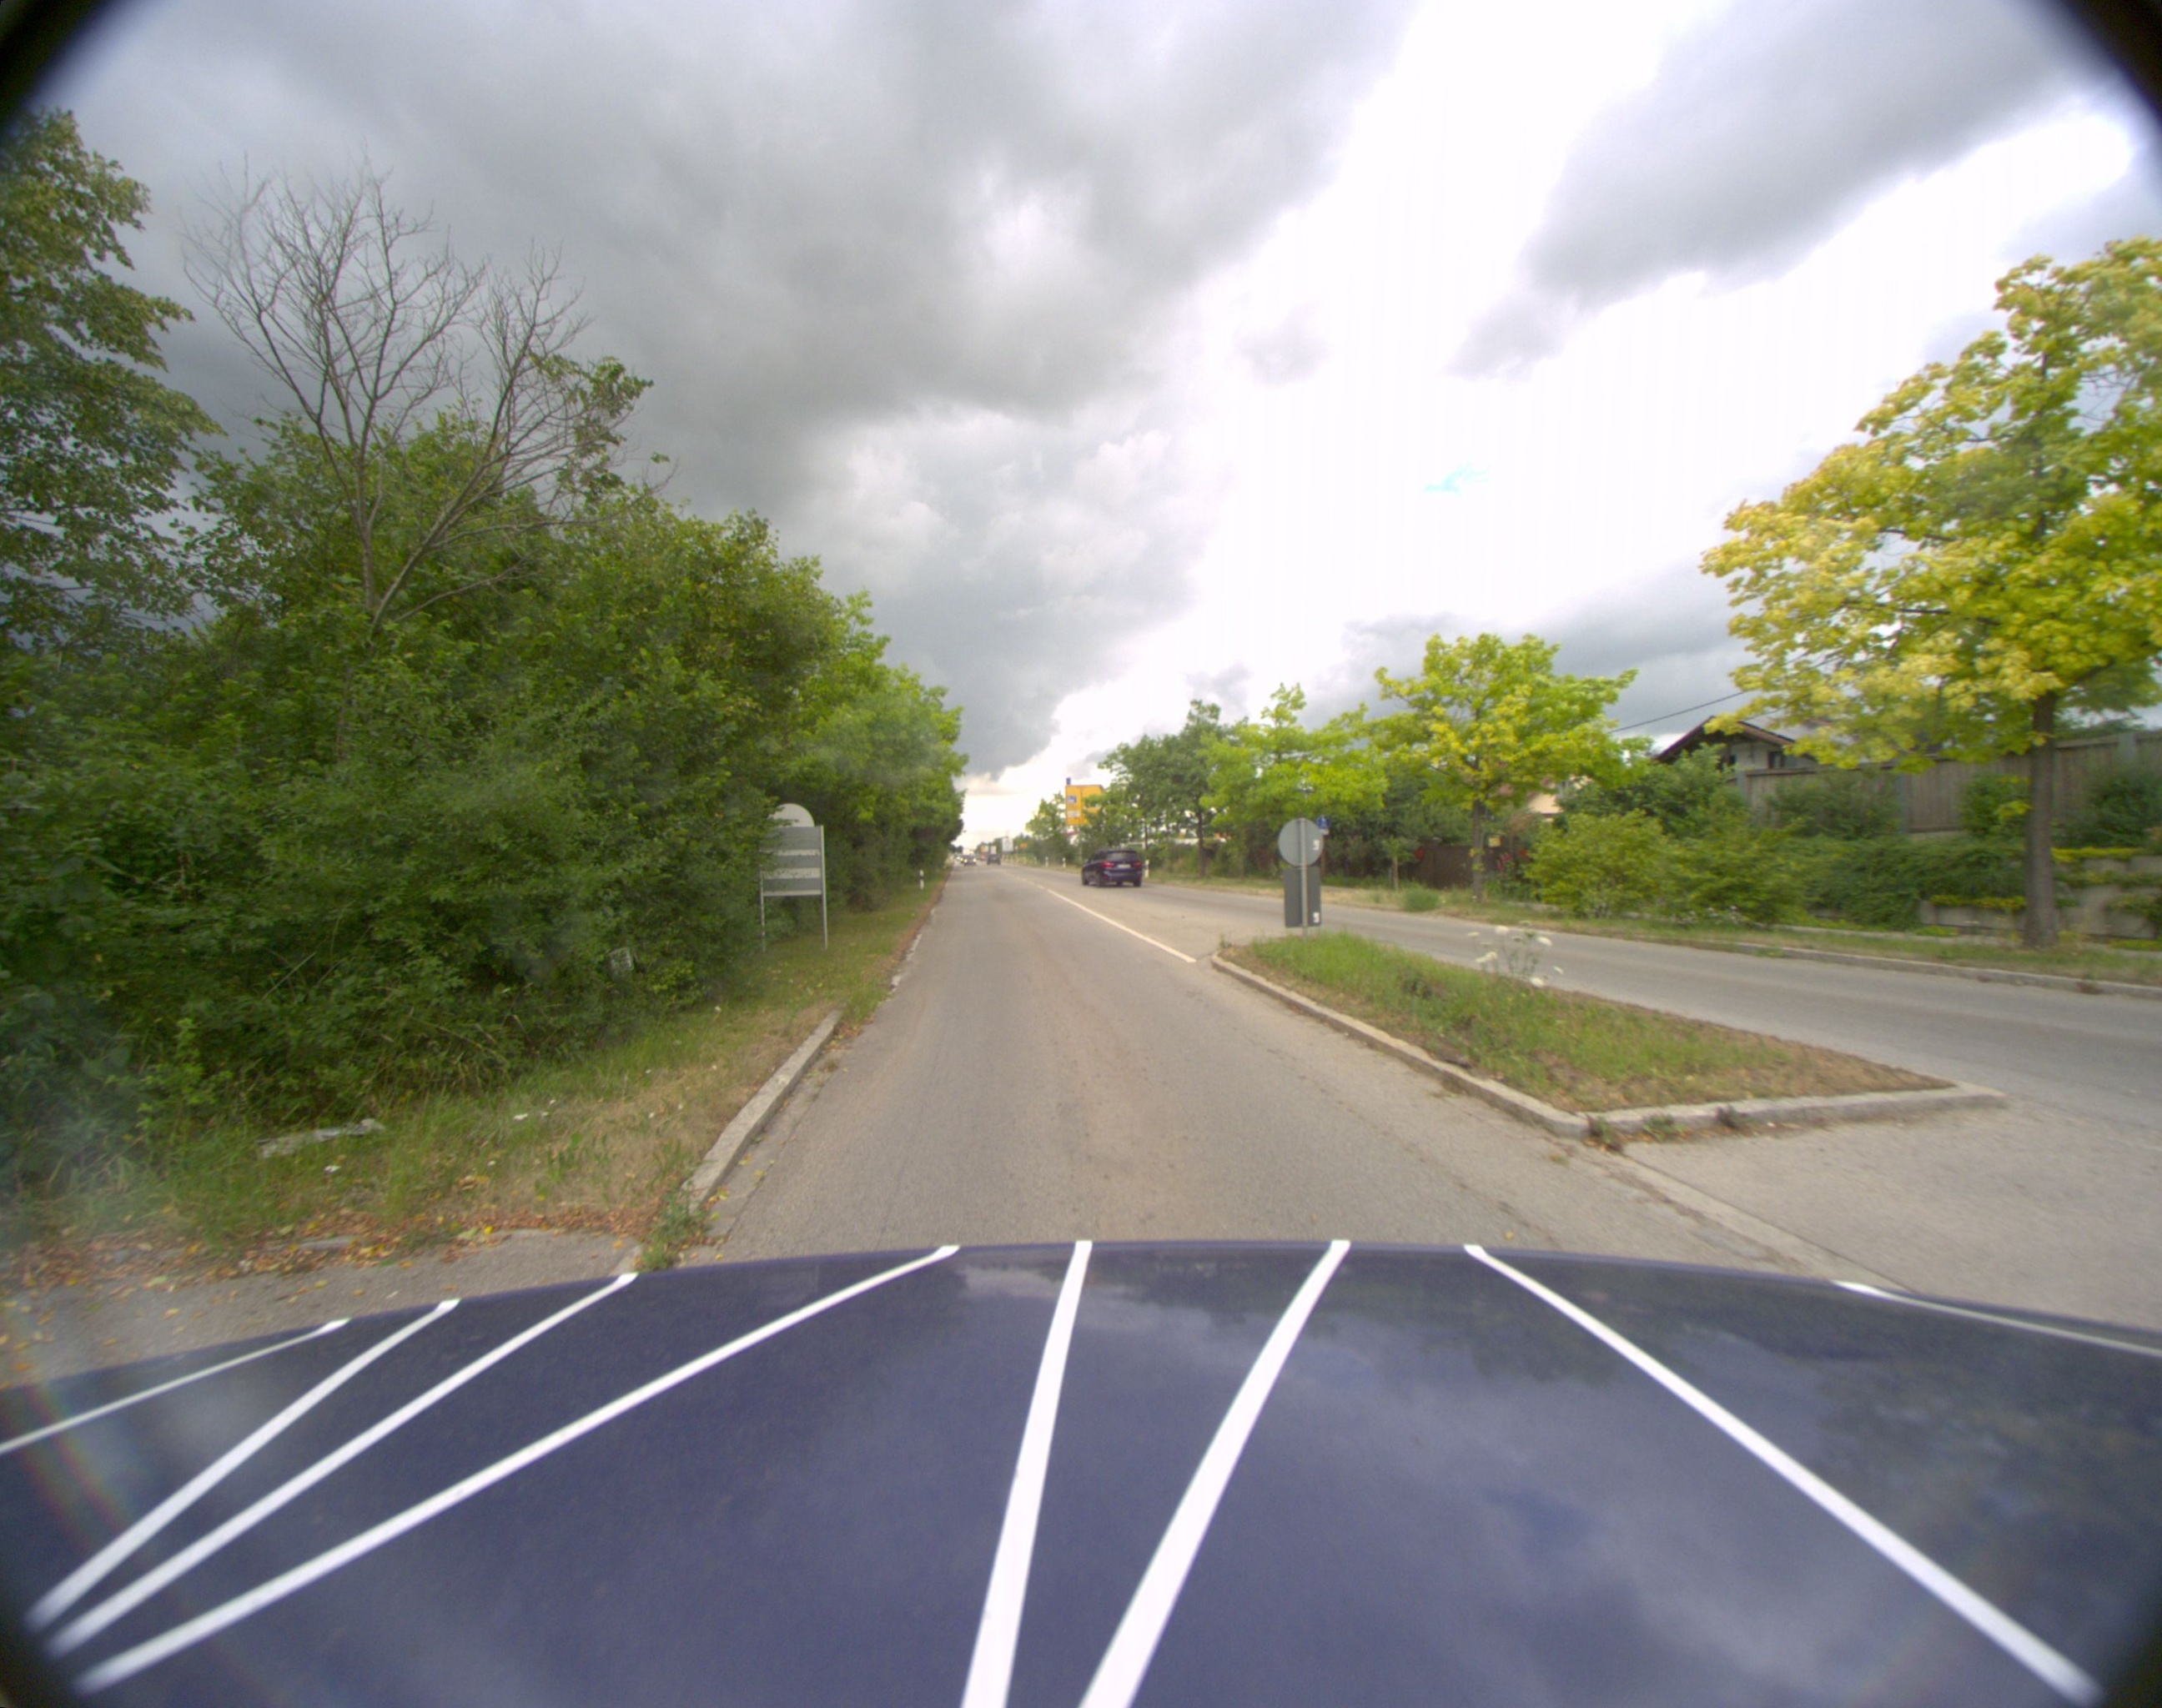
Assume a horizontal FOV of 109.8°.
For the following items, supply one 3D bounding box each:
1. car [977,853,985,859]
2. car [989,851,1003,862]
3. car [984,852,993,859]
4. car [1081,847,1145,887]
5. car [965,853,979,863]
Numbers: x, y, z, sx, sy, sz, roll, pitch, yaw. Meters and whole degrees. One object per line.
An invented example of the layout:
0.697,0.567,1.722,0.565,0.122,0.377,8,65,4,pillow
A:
-26.896,0.477,203.839,1.858,1.456,4.366,-1,1,-9,car
-11.731,0.345,104.634,1.739,1.525,4.091,-1,0,-9,car
-19.928,0.257,164.080,1.822,1.485,4.200,-1,0,-9,car
1.290,0.504,32.339,1.744,1.576,4.351,0,0,-11,car
-15.264,0.580,106.391,1.870,1.352,3.823,-2,1,-9,car
